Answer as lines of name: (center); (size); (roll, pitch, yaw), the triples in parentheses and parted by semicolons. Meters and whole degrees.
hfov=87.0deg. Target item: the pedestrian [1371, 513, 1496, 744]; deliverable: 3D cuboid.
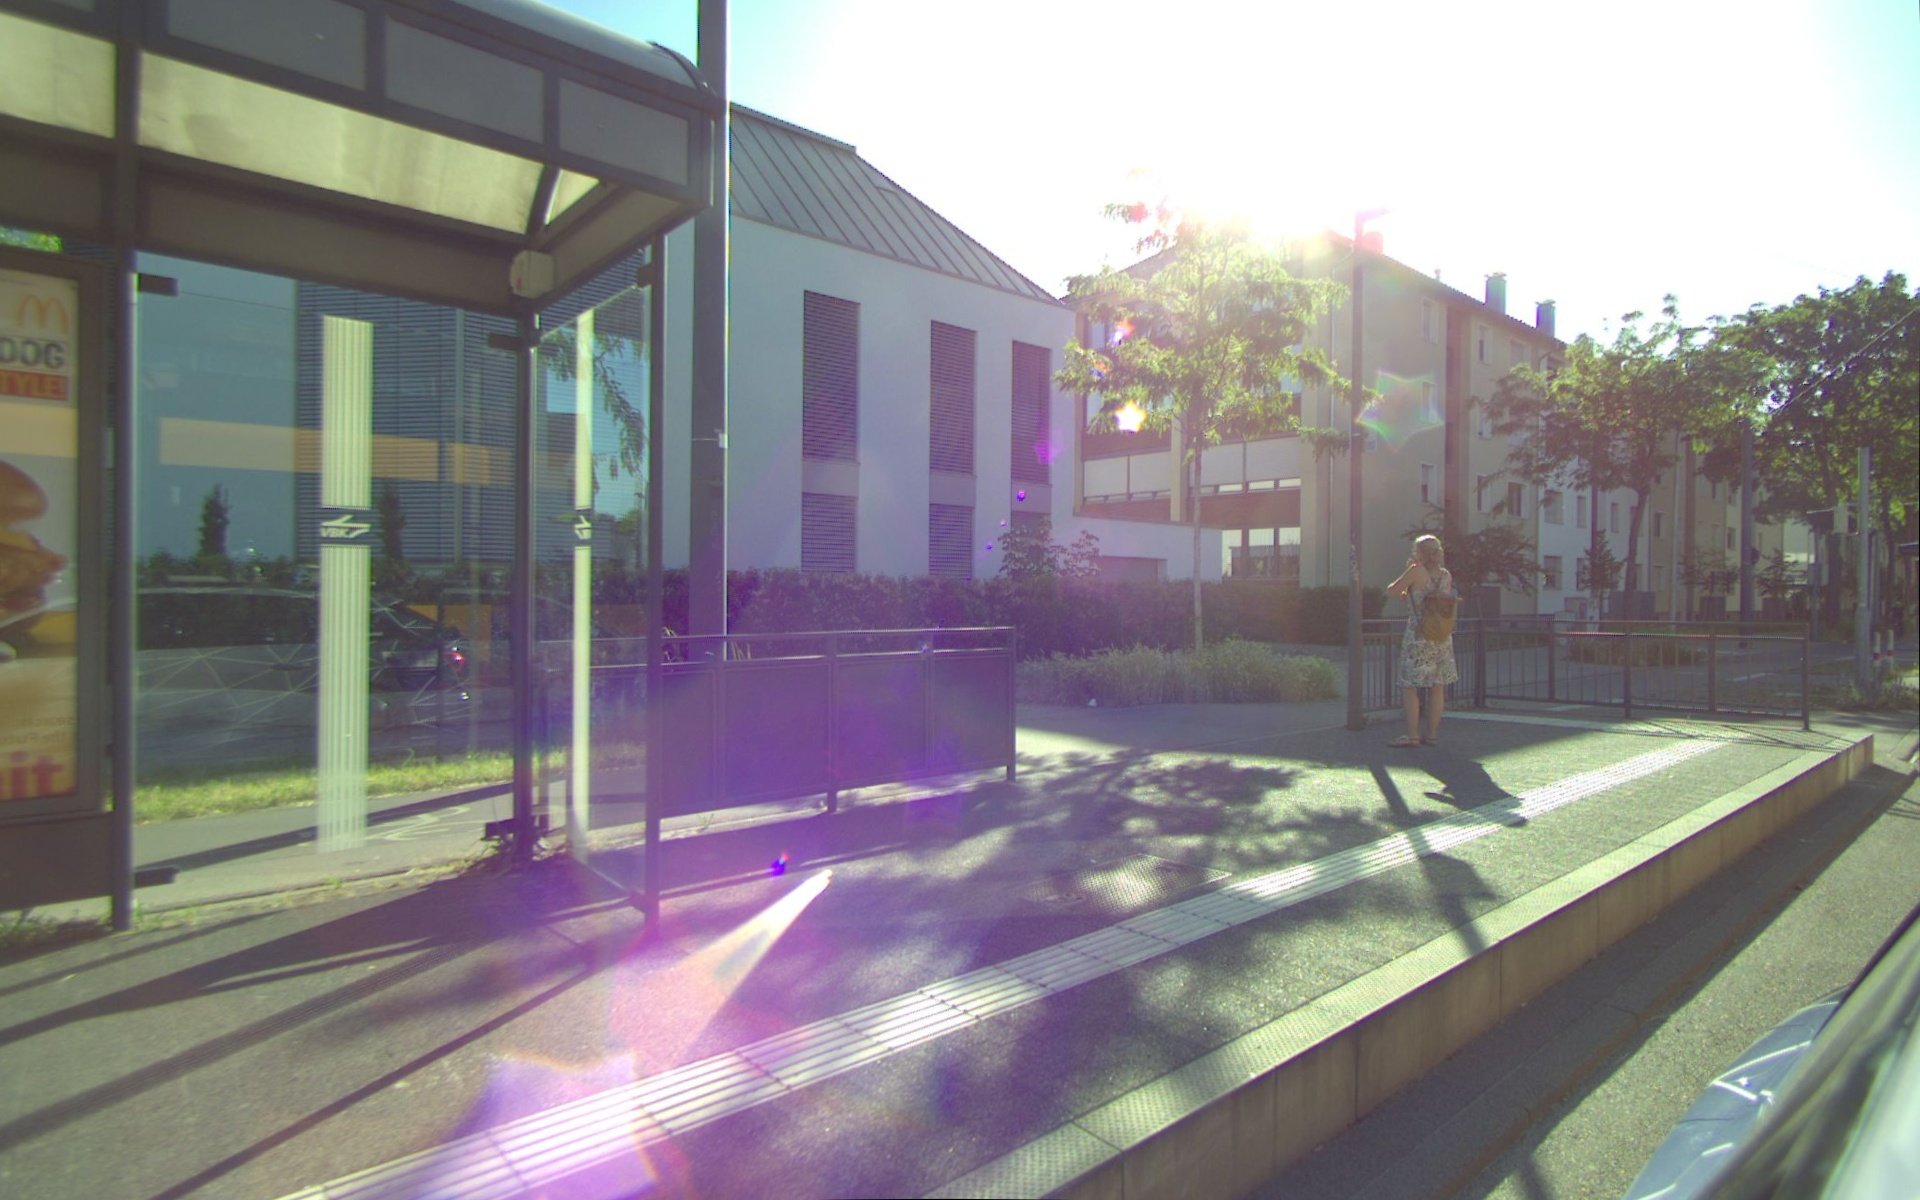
pedestrian: (3.753, 0.214, 8.028); (0.679, 1.726, 0.672); (0, -1, -42)

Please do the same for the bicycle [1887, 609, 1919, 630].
bicycle: (43.442, 0.890, 46.525); (2.157, 0.897, 0.827); (0, 0, -37)

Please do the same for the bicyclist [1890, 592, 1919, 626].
bicyclist: (43.490, 0.419, 46.555); (1.235, 1.518, 0.819); (1, 0, -37)
